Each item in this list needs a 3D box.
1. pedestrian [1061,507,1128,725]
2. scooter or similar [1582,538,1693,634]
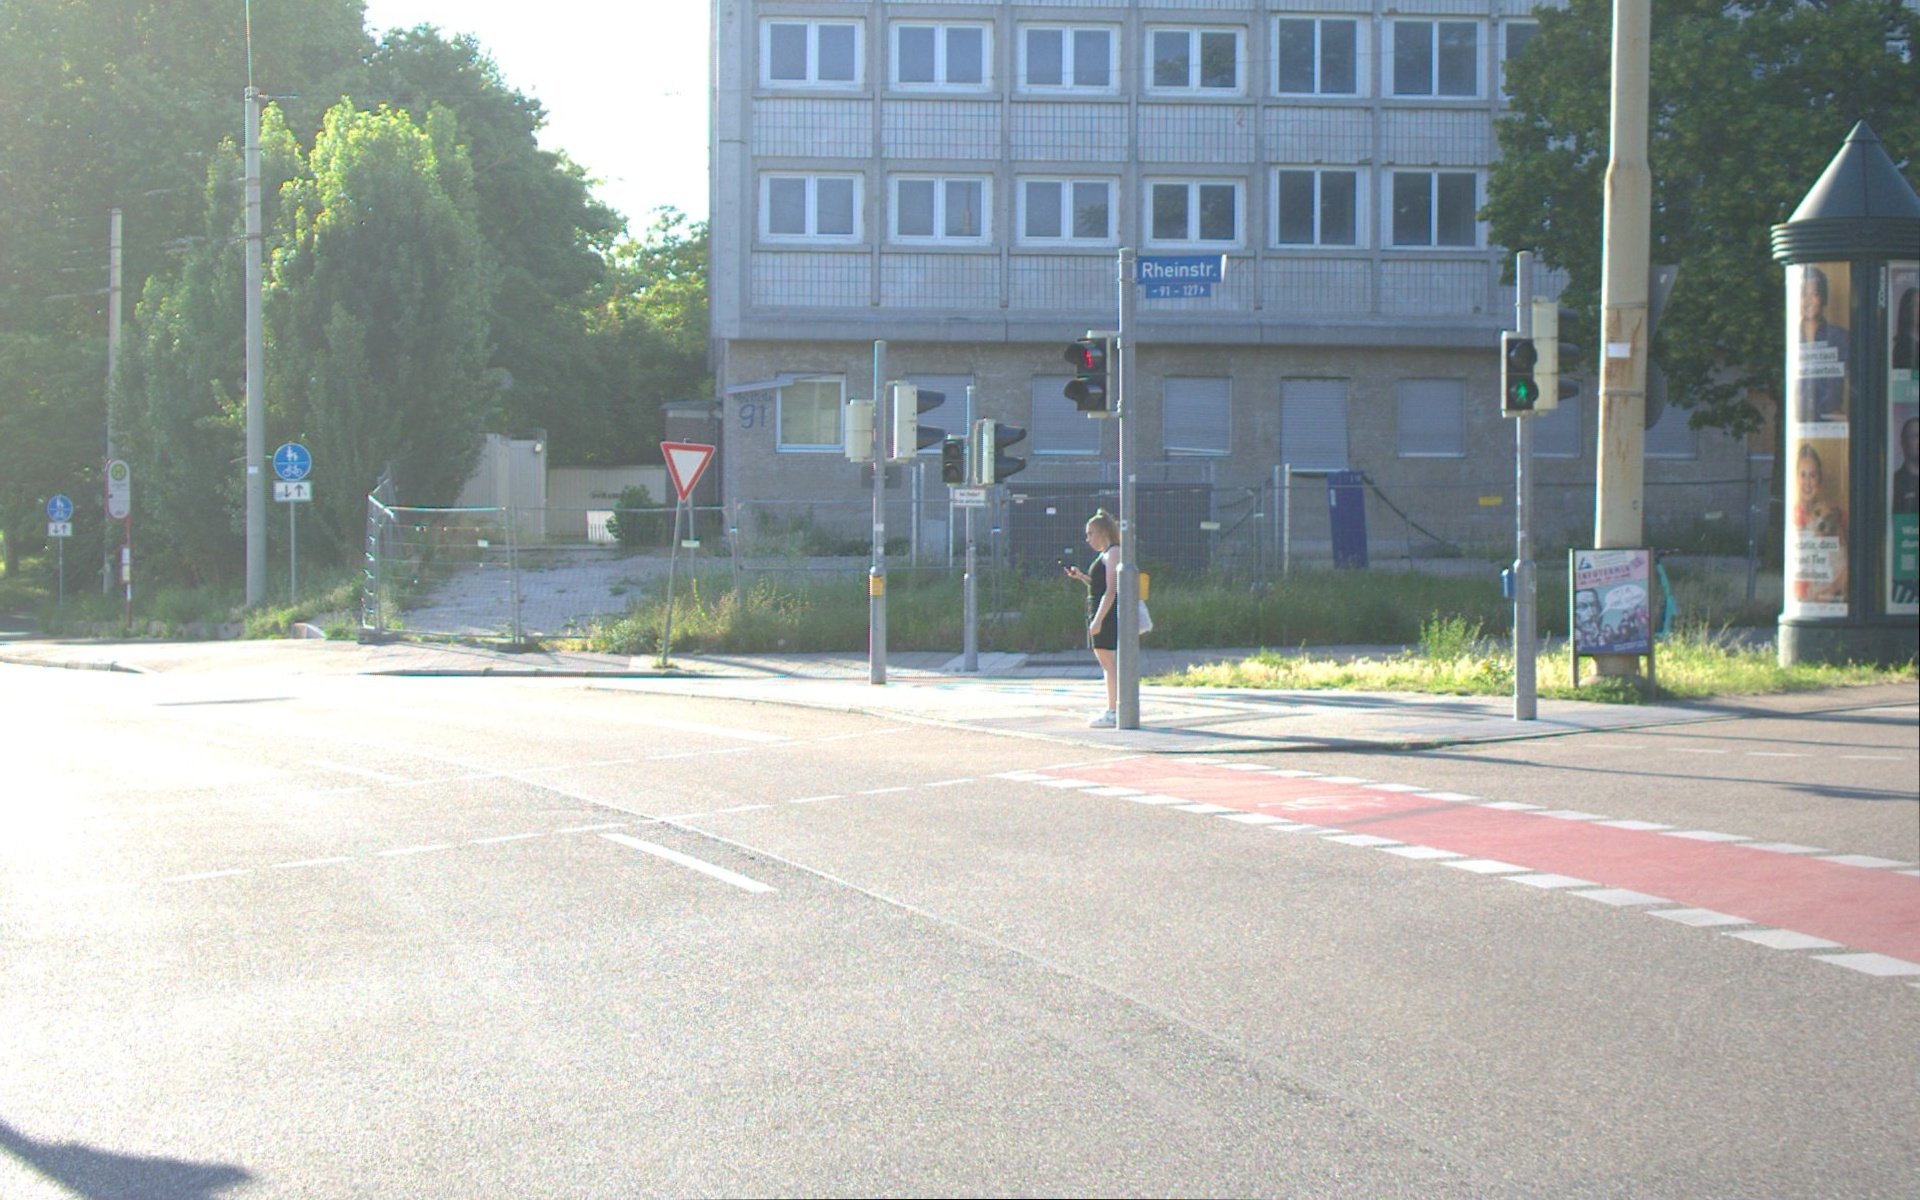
[{"bbox_3d":[1.004,0.112,25.641,0.436,1.607,0.630,-1,1,6],"label":"pedestrian"},{"bbox_3d":[8.388,-0.172,42.582,1.297,1.166,0.327,-1,1,-2],"label":"scooter or similar"}]
